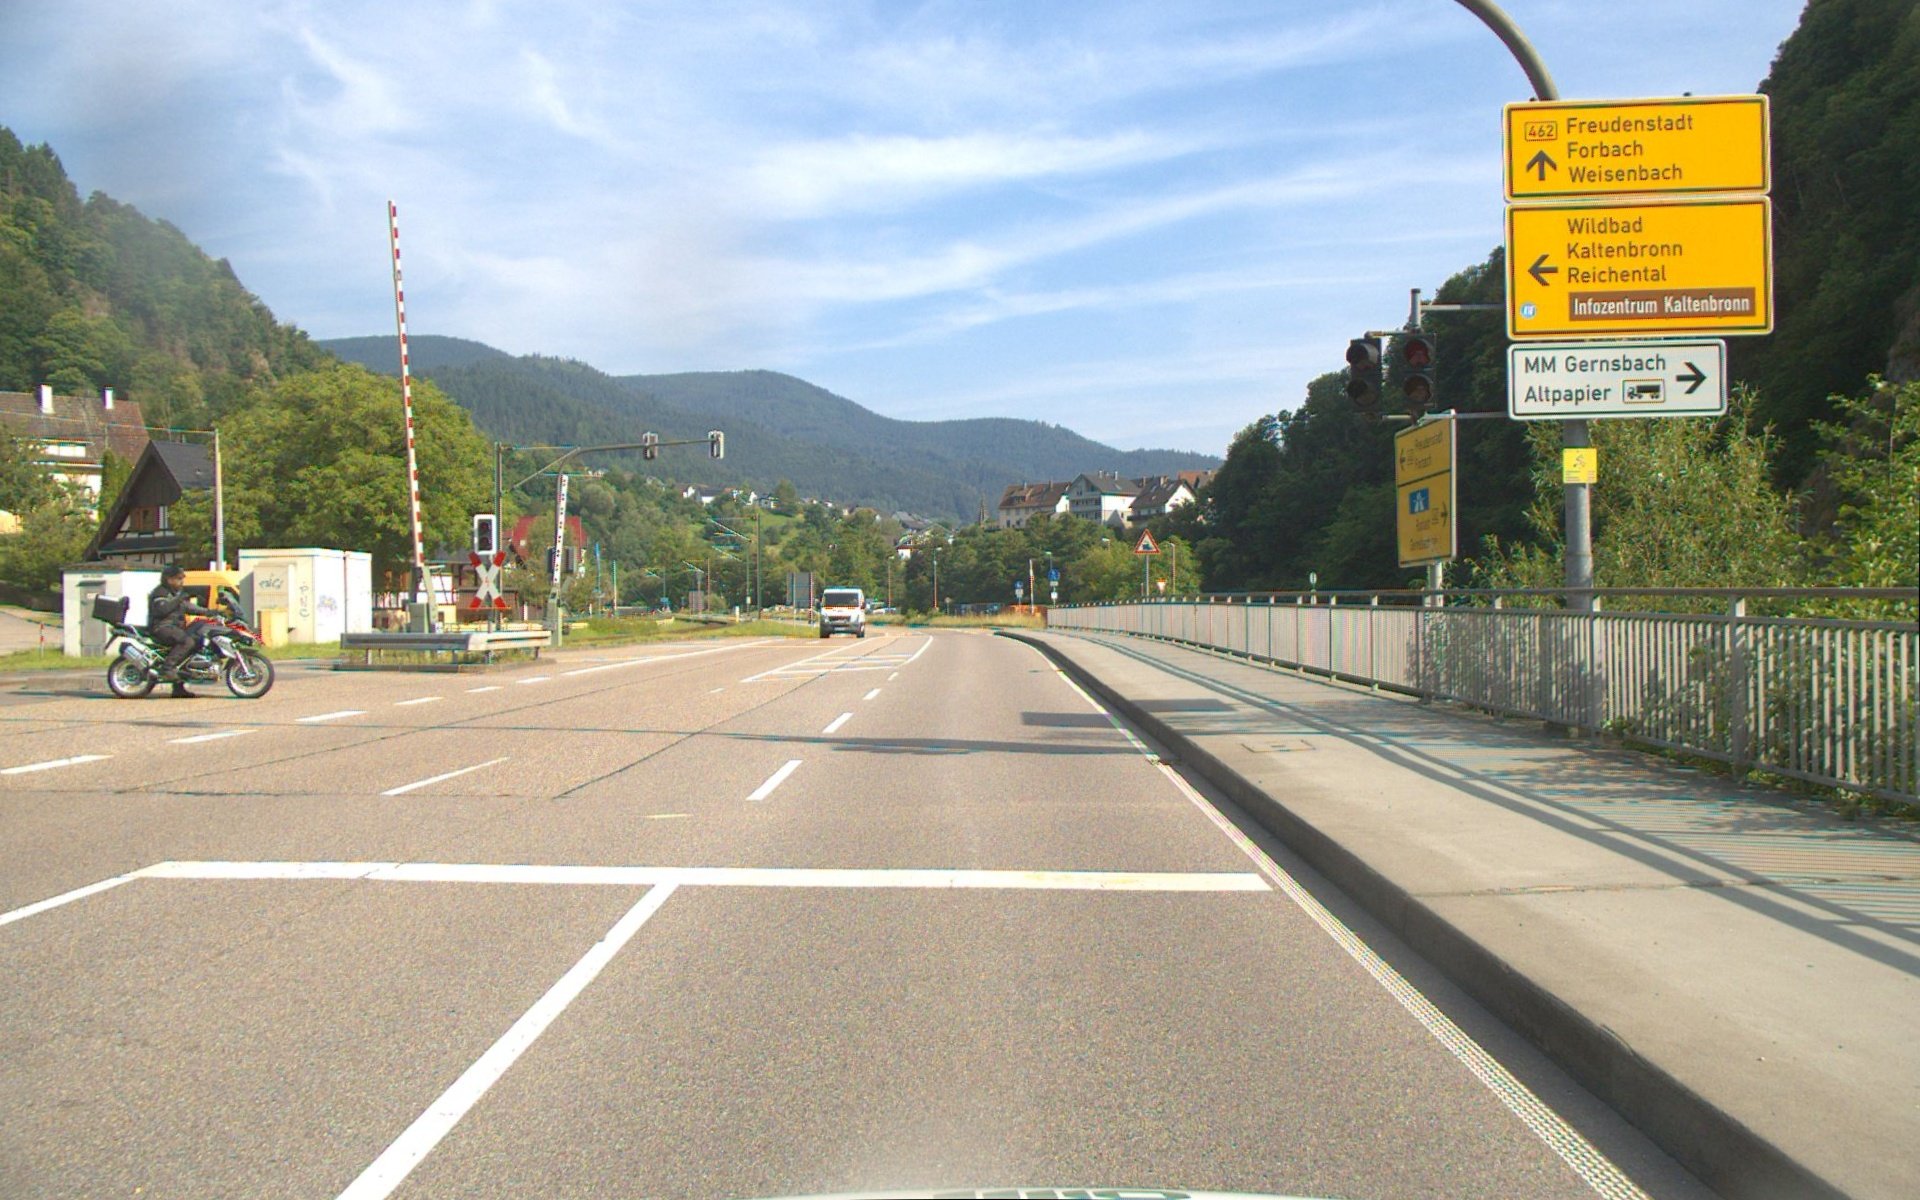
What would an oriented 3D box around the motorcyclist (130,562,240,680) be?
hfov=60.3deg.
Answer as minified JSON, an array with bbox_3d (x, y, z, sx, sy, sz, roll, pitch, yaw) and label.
[{"bbox_3d":[-10.677,0.290,22.818,1.162,1.571,0.988,1,-1,-14],"label":"motorcyclist"}]

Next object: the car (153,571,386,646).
[{"bbox_3d":[-23.796,0.296,57.184,6.913,2.500,2.951,0,0,9],"label":"car"}]

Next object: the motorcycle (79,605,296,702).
[{"bbox_3d":[-10.605,0.728,22.830,2.542,1.290,1.001,1,0,-15],"label":"motorcycle"}]

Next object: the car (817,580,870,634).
[{"bbox_3d":[-5.484,0.318,78.659,2.076,2.479,5.228,0,0,1],"label":"car"}]
